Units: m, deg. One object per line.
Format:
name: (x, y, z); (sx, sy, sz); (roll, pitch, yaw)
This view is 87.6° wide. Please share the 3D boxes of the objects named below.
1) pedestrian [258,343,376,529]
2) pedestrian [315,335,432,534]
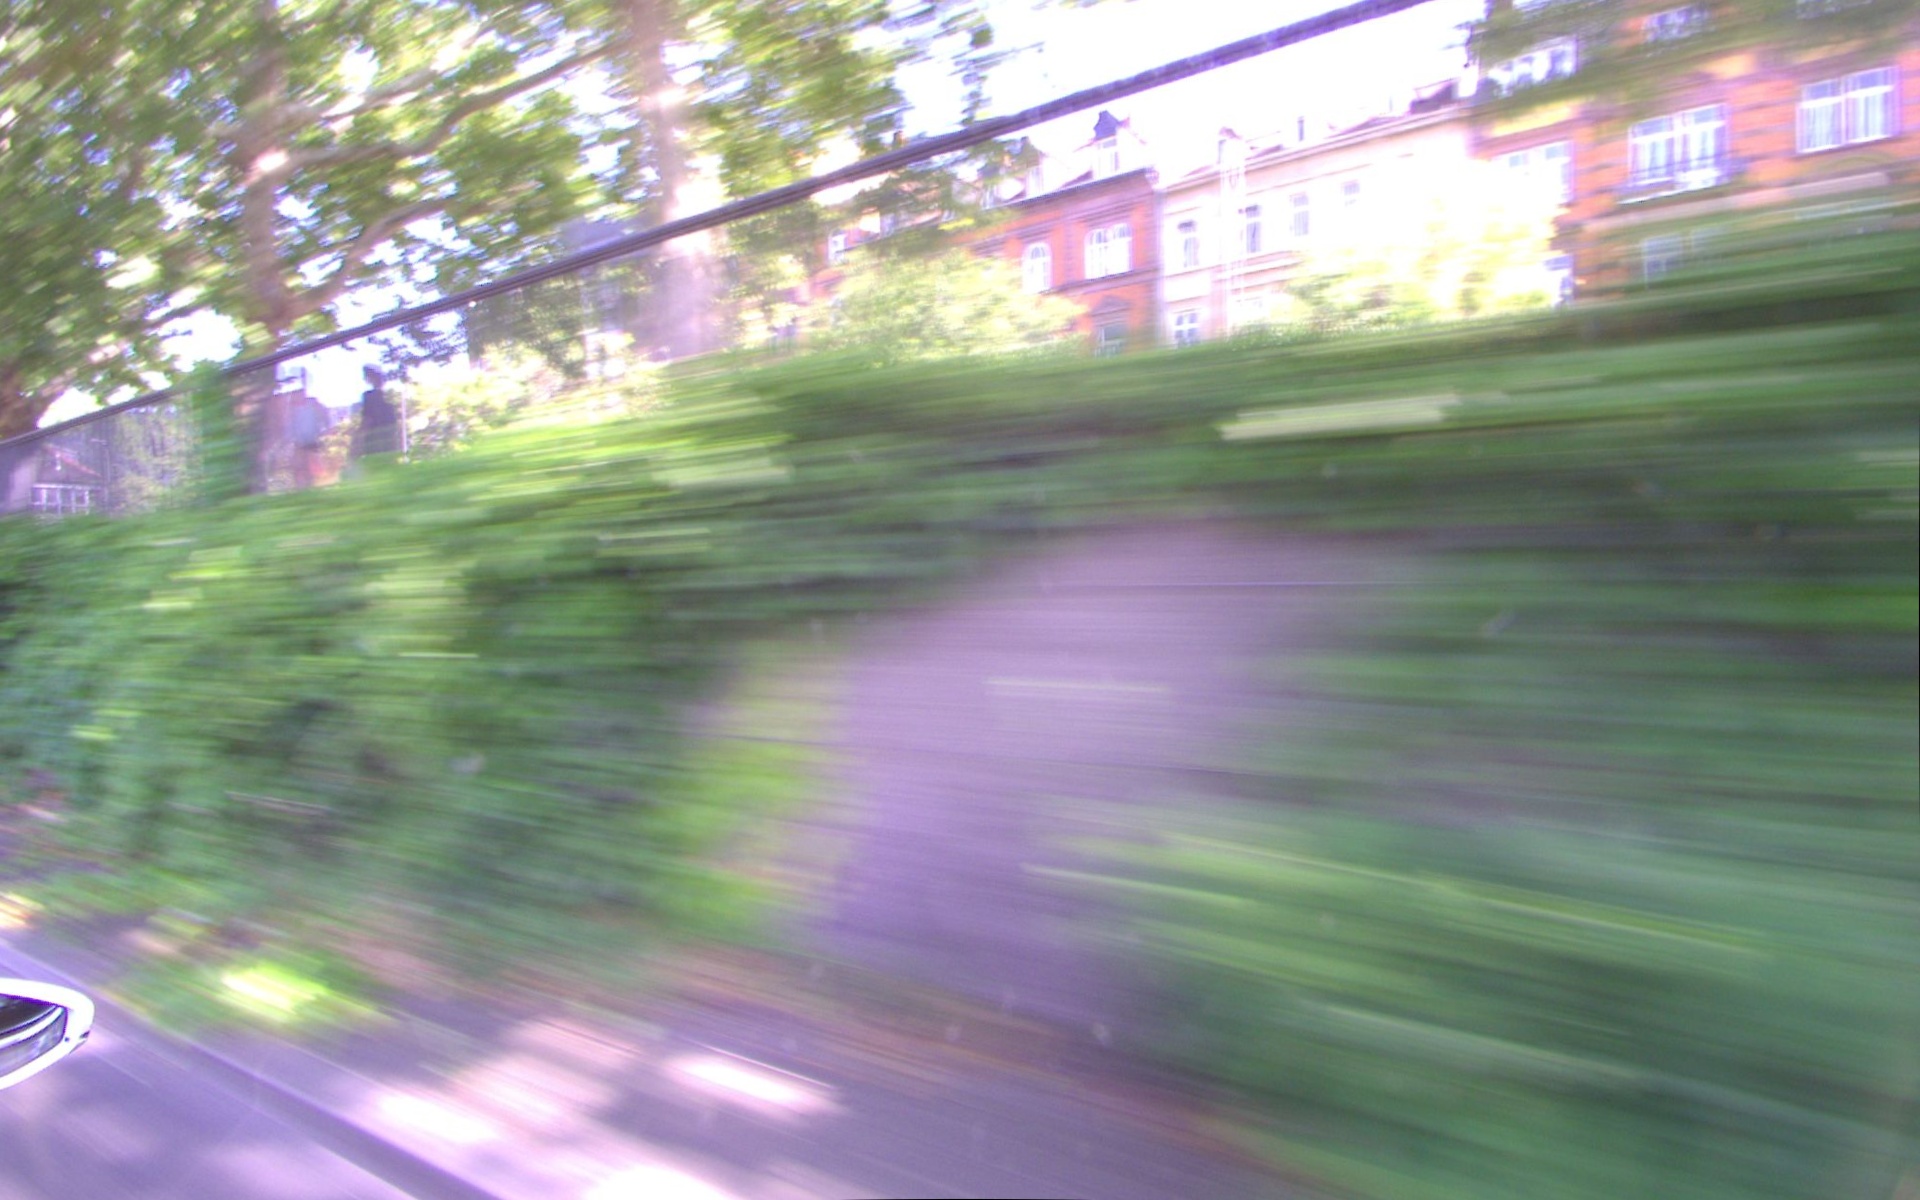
pedestrian: (-5.418, -1.348, 8.453); (0.579, 1.438, 0.584); (-1, 1, 24)
pedestrian: (-5.332, -1.463, 9.126); (0.616, 1.662, 0.647); (-1, 1, 24)
